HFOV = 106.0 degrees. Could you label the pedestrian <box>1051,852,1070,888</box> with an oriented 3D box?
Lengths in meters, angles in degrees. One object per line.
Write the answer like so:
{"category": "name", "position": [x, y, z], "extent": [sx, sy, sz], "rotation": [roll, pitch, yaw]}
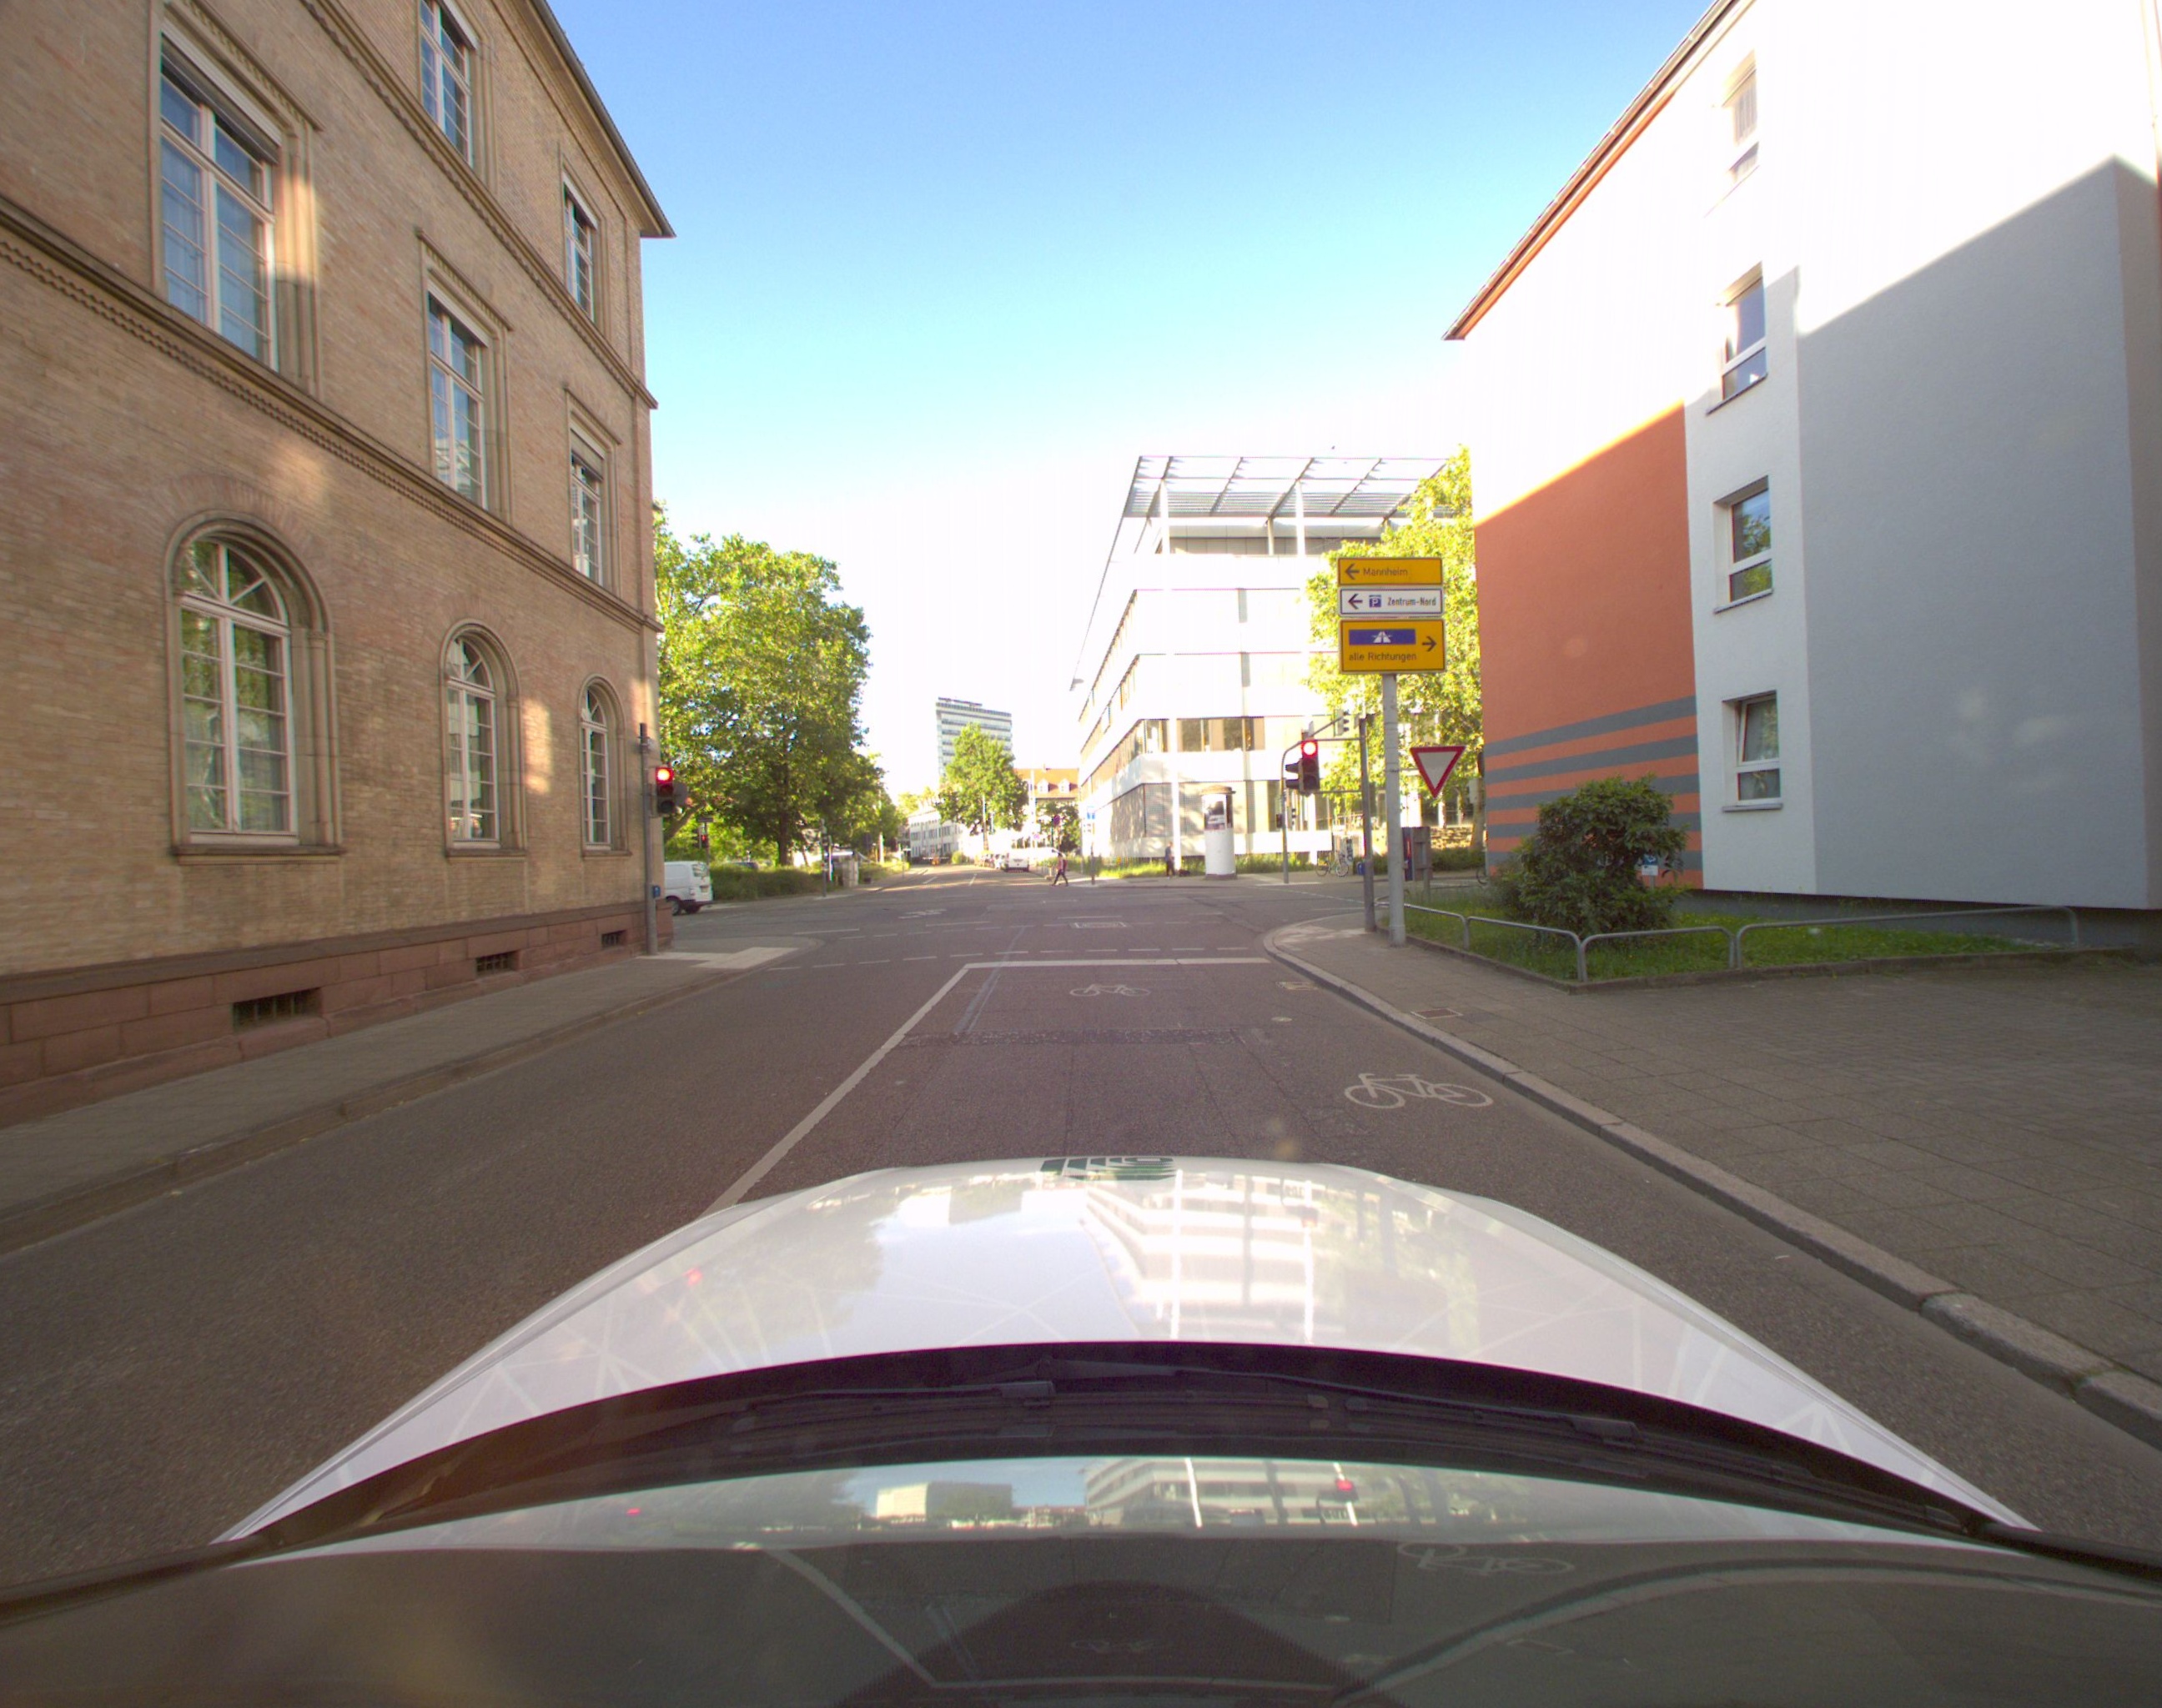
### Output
{"category": "pedestrian", "position": [-0.921, 0.709, 37.092], "extent": [0.707, 1.599, 0.619], "rotation": [-2, 0, 9]}

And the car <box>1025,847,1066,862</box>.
{"category": "car", "position": [-4.522, 0.044, 103.178], "extent": [4.889, 1.872, 1.990], "rotation": [-1, -1, -15]}

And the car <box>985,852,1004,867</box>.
{"category": "car", "position": [-9.208, 0.604, 86.251], "extent": [1.704, 1.464, 4.225], "rotation": [-2, 0, -9]}

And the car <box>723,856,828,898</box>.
{"category": "car", "position": [-14.412, 1.053, 38.646], "extent": [4.219, 1.777, 1.901], "rotation": [-2, 0, -7]}

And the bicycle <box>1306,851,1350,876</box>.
{"category": "bicycle", "position": [10.890, 0.433, 36.005], "extent": [0.467, 1.049, 1.893], "rotation": [-2, 0, -40]}

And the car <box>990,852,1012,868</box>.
{"category": "car", "position": [-8.049, 0.586, 81.387], "extent": [1.705, 1.424, 4.221], "rotation": [-2, 0, -11]}

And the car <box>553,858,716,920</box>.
{"category": "car", "position": [-15.209, 1.168, 27.927], "extent": [4.533, 1.799, 1.634], "rotation": [-3, 0, -5]}

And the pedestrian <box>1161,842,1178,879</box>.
{"category": "pedestrian", "position": [4.247, 0.287, 39.004], "extent": [0.648, 1.736, 0.815], "rotation": [-2, 0, 11]}

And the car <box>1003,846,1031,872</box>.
{"category": "car", "position": [-5.142, 0.364, 64.943], "extent": [2.065, 1.963, 4.228], "rotation": [-2, 0, -7]}

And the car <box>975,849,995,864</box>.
{"category": "car", "position": [-11.327, 0.293, 96.133], "extent": [2.100, 1.658, 4.461], "rotation": [-2, 0, -9]}

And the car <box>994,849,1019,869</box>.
{"category": "car", "position": [-7.067, 0.454, 76.676], "extent": [1.947, 1.795, 4.223], "rotation": [-2, 0, -11]}
